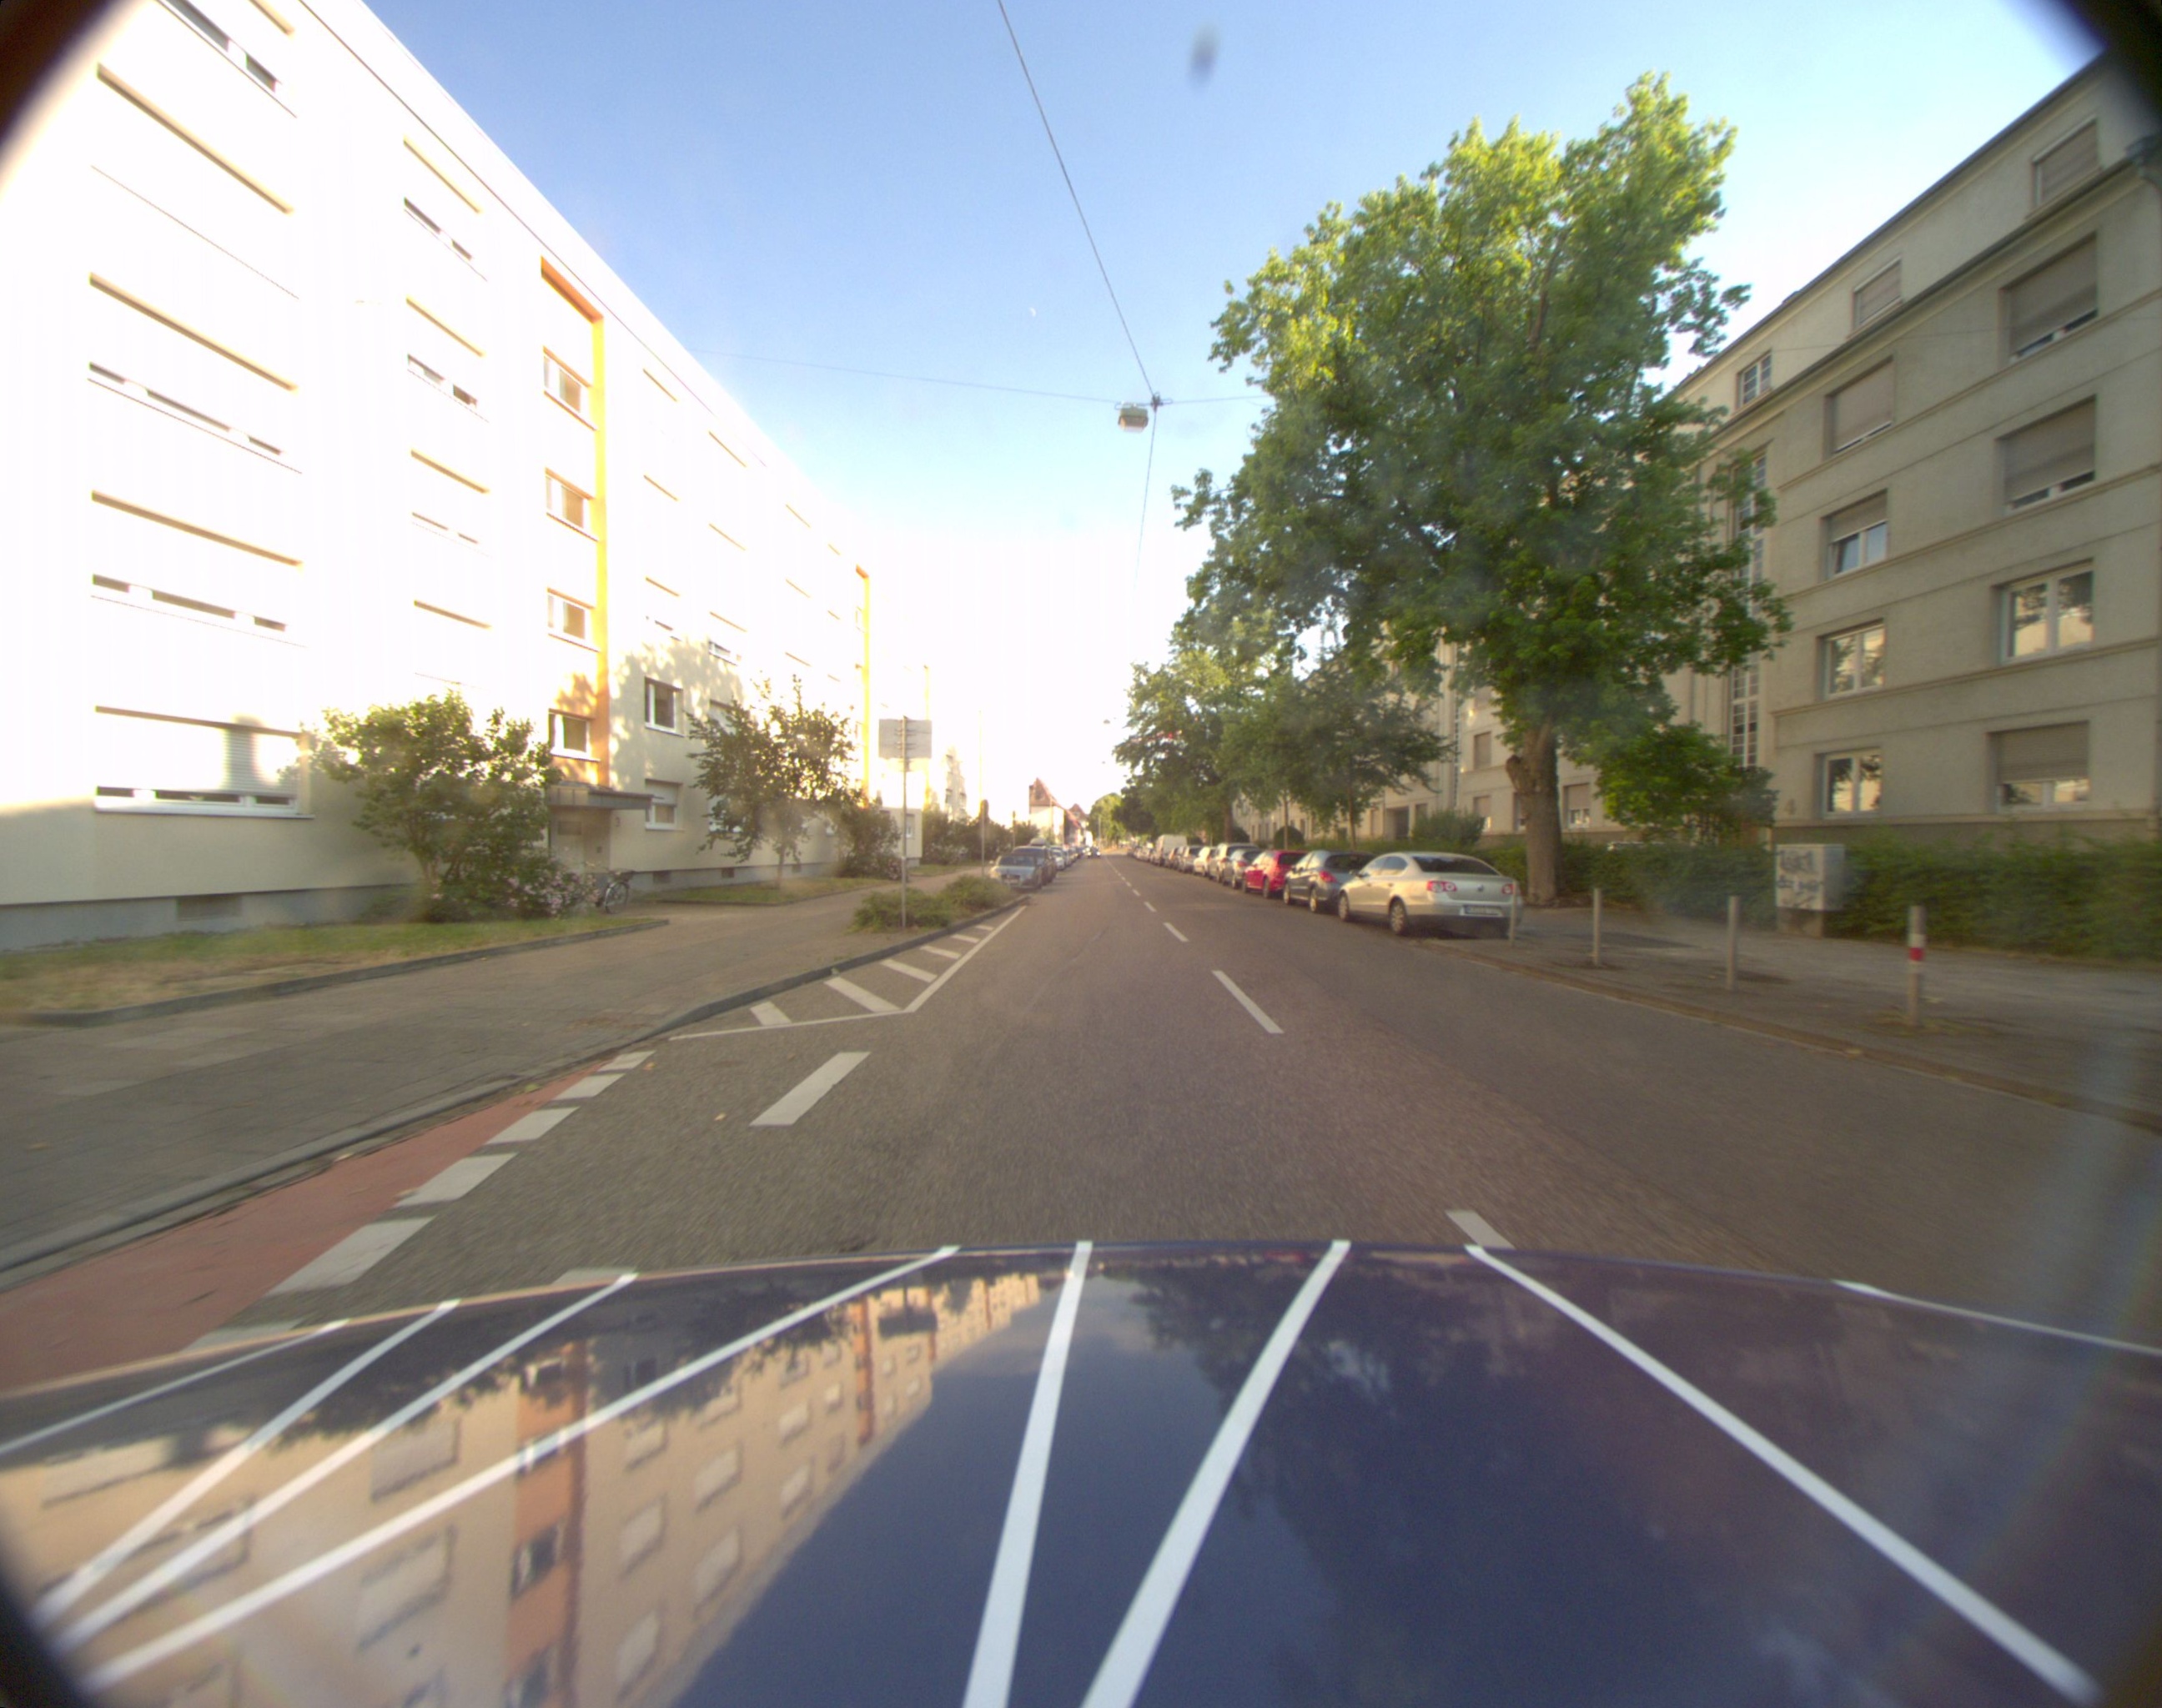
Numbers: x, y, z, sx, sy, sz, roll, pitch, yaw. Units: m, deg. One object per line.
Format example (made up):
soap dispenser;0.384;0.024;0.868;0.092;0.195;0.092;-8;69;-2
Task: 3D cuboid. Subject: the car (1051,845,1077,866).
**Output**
car;-1.375;0.085;63.027;1.841;1.493;4.171;3;3;2

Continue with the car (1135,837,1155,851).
car;7.822;-1.208;92.911;2.009;1.543;4.469;-2;3;0

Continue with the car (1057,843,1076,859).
car;-1.514;-0.336;80.020;1.878;1.435;3.998;-2;2;-1

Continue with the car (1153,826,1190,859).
car;7.216;-0.994;61.166;2.364;2.432;6.162;0;3;1

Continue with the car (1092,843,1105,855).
car;2.337;-0.702;101.912;1.775;1.492;3.673;0;1;1

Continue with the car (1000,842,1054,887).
car;-2.283;0.412;33.361;1.932;1.650;4.675;-2;3;1

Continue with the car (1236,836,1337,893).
car;6.258;0.264;23.646;1.876;1.550;3.997;1;2;-3

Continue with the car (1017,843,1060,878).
car;-2.139;0.298;39.375;1.902;1.642;4.341;0;2;1

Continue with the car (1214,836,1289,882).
car;6.290;0.127;28.504;1.875;1.549;4.496;-1;2;1

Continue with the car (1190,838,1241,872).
car;6.851;0.002;39.208;1.875;1.549;4.100;4;1;1

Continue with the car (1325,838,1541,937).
car;6.105;0.467;13.882;1.774;1.345;4.708;-2;3;0

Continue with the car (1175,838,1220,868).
car;6.767;-0.103;44.615;1.875;1.549;5.055;4;1;1

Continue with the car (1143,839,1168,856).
car;7.657;-0.682;78.013;1.878;1.348;4.651;-7;3;-1

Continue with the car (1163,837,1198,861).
car;7.181;-0.396;55.024;1.962;1.550;4.344;1;3;1

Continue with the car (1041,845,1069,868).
car;-1.768;0.127;53.001;1.683;1.408;4.722;-1;3;1

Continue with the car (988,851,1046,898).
car;-2.309;0.708;28.289;1.745;1.465;3.998;0;3;1

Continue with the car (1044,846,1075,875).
car;-1.230;0.338;45.125;1.610;1.486;4.040;0;3;1

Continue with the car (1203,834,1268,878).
car;6.717;0.002;33.518;1.921;1.668;4.972;-2;3;1

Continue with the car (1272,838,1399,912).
car;6.049;0.408;18.582;1.708;1.432;4.127;3;3;1

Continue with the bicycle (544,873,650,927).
bicycle;-9.637;0.890;15.261;0.638;0.920;2.230;-2;0;1
